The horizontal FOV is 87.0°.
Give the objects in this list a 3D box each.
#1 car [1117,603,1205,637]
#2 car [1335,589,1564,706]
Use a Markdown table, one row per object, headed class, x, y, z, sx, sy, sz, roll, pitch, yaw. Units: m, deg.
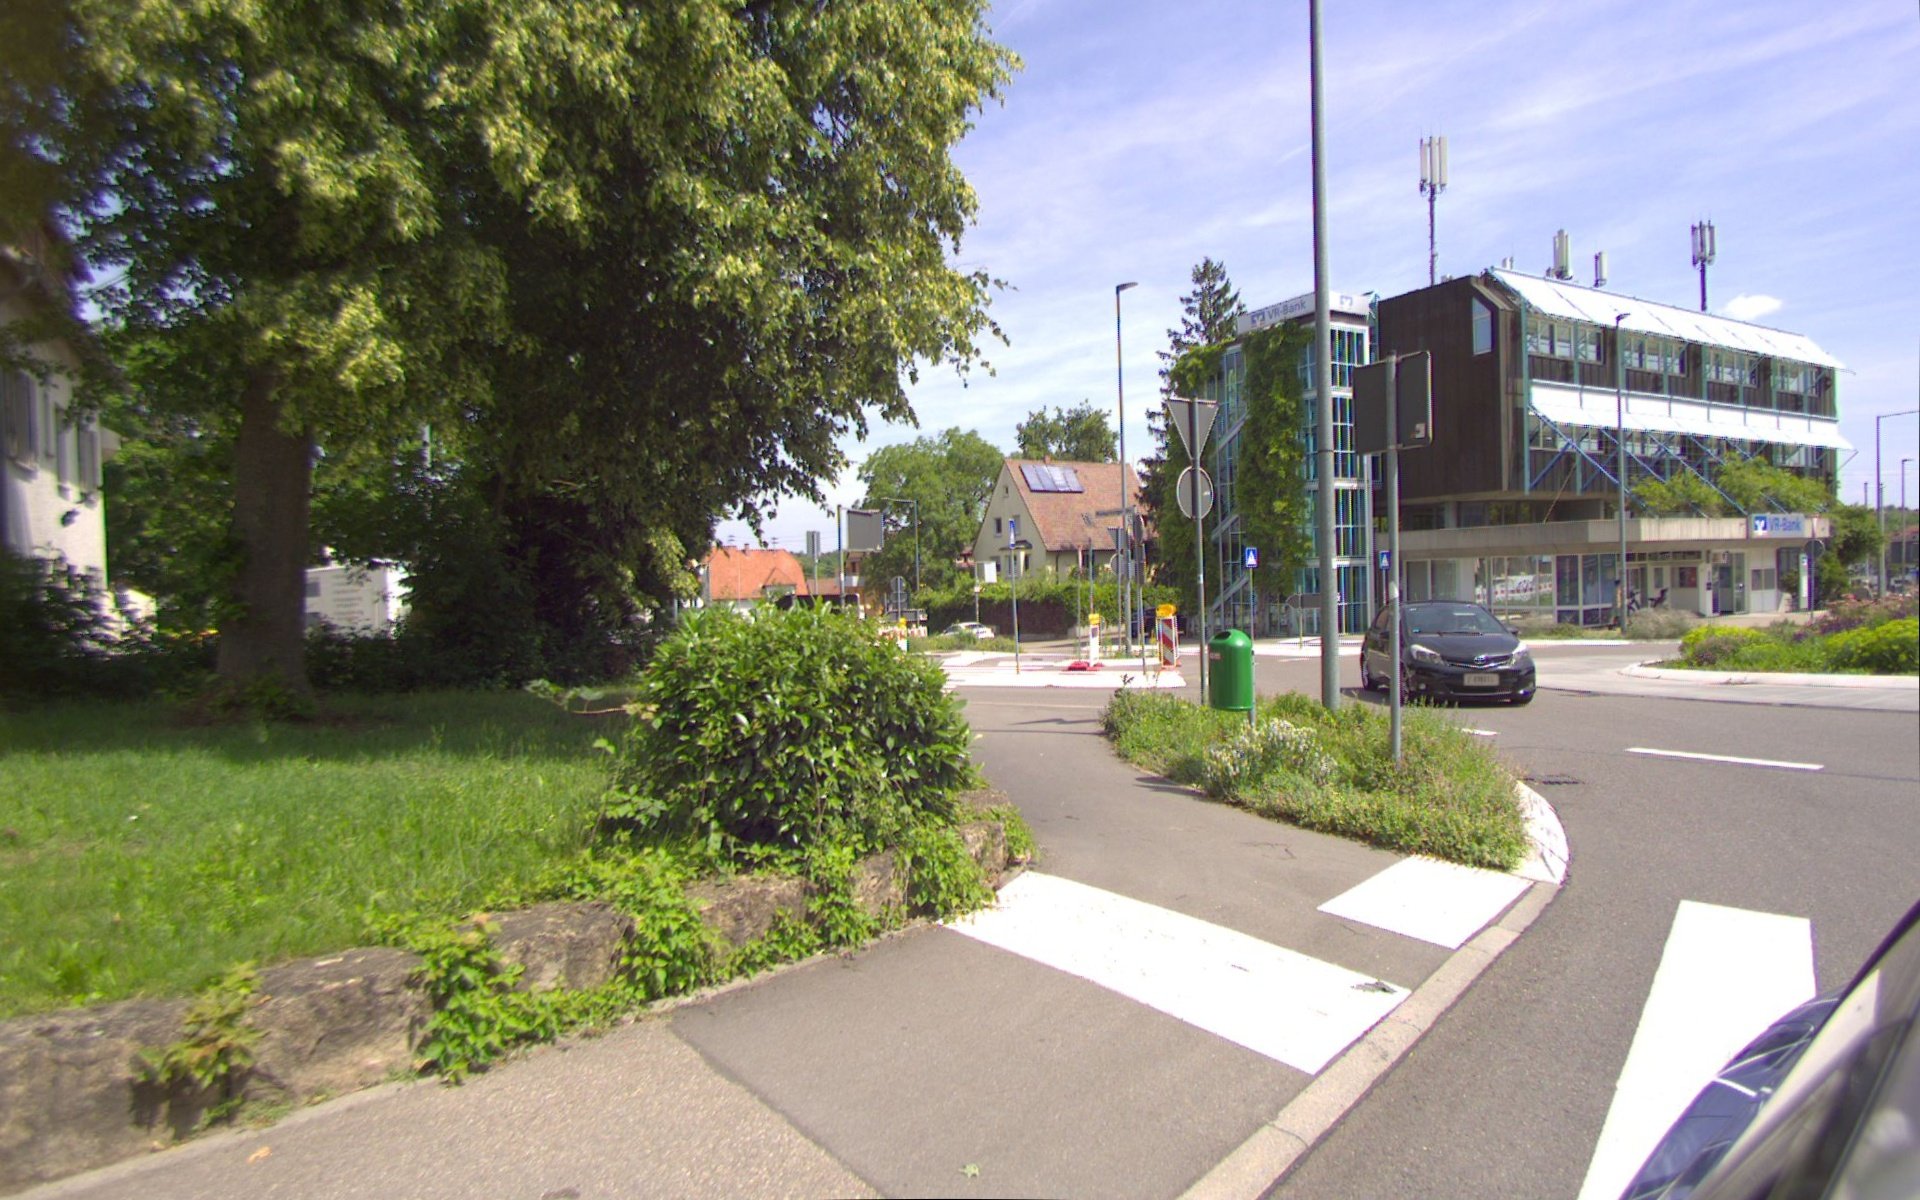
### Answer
| class | x | y | z | sx | sy | sz | roll | pitch | yaw |
| --- | --- | --- | --- | --- | --- | --- | --- | --- | --- |
| car | 10.487 | 1.026 | 52.710 | 4.142 | 1.455 | 1.866 | -4 | 0 | -27 |
| car | 7.260 | 0.629 | 15.546 | 1.697 | 1.475 | 4.422 | -2 | 0 | 6 |
